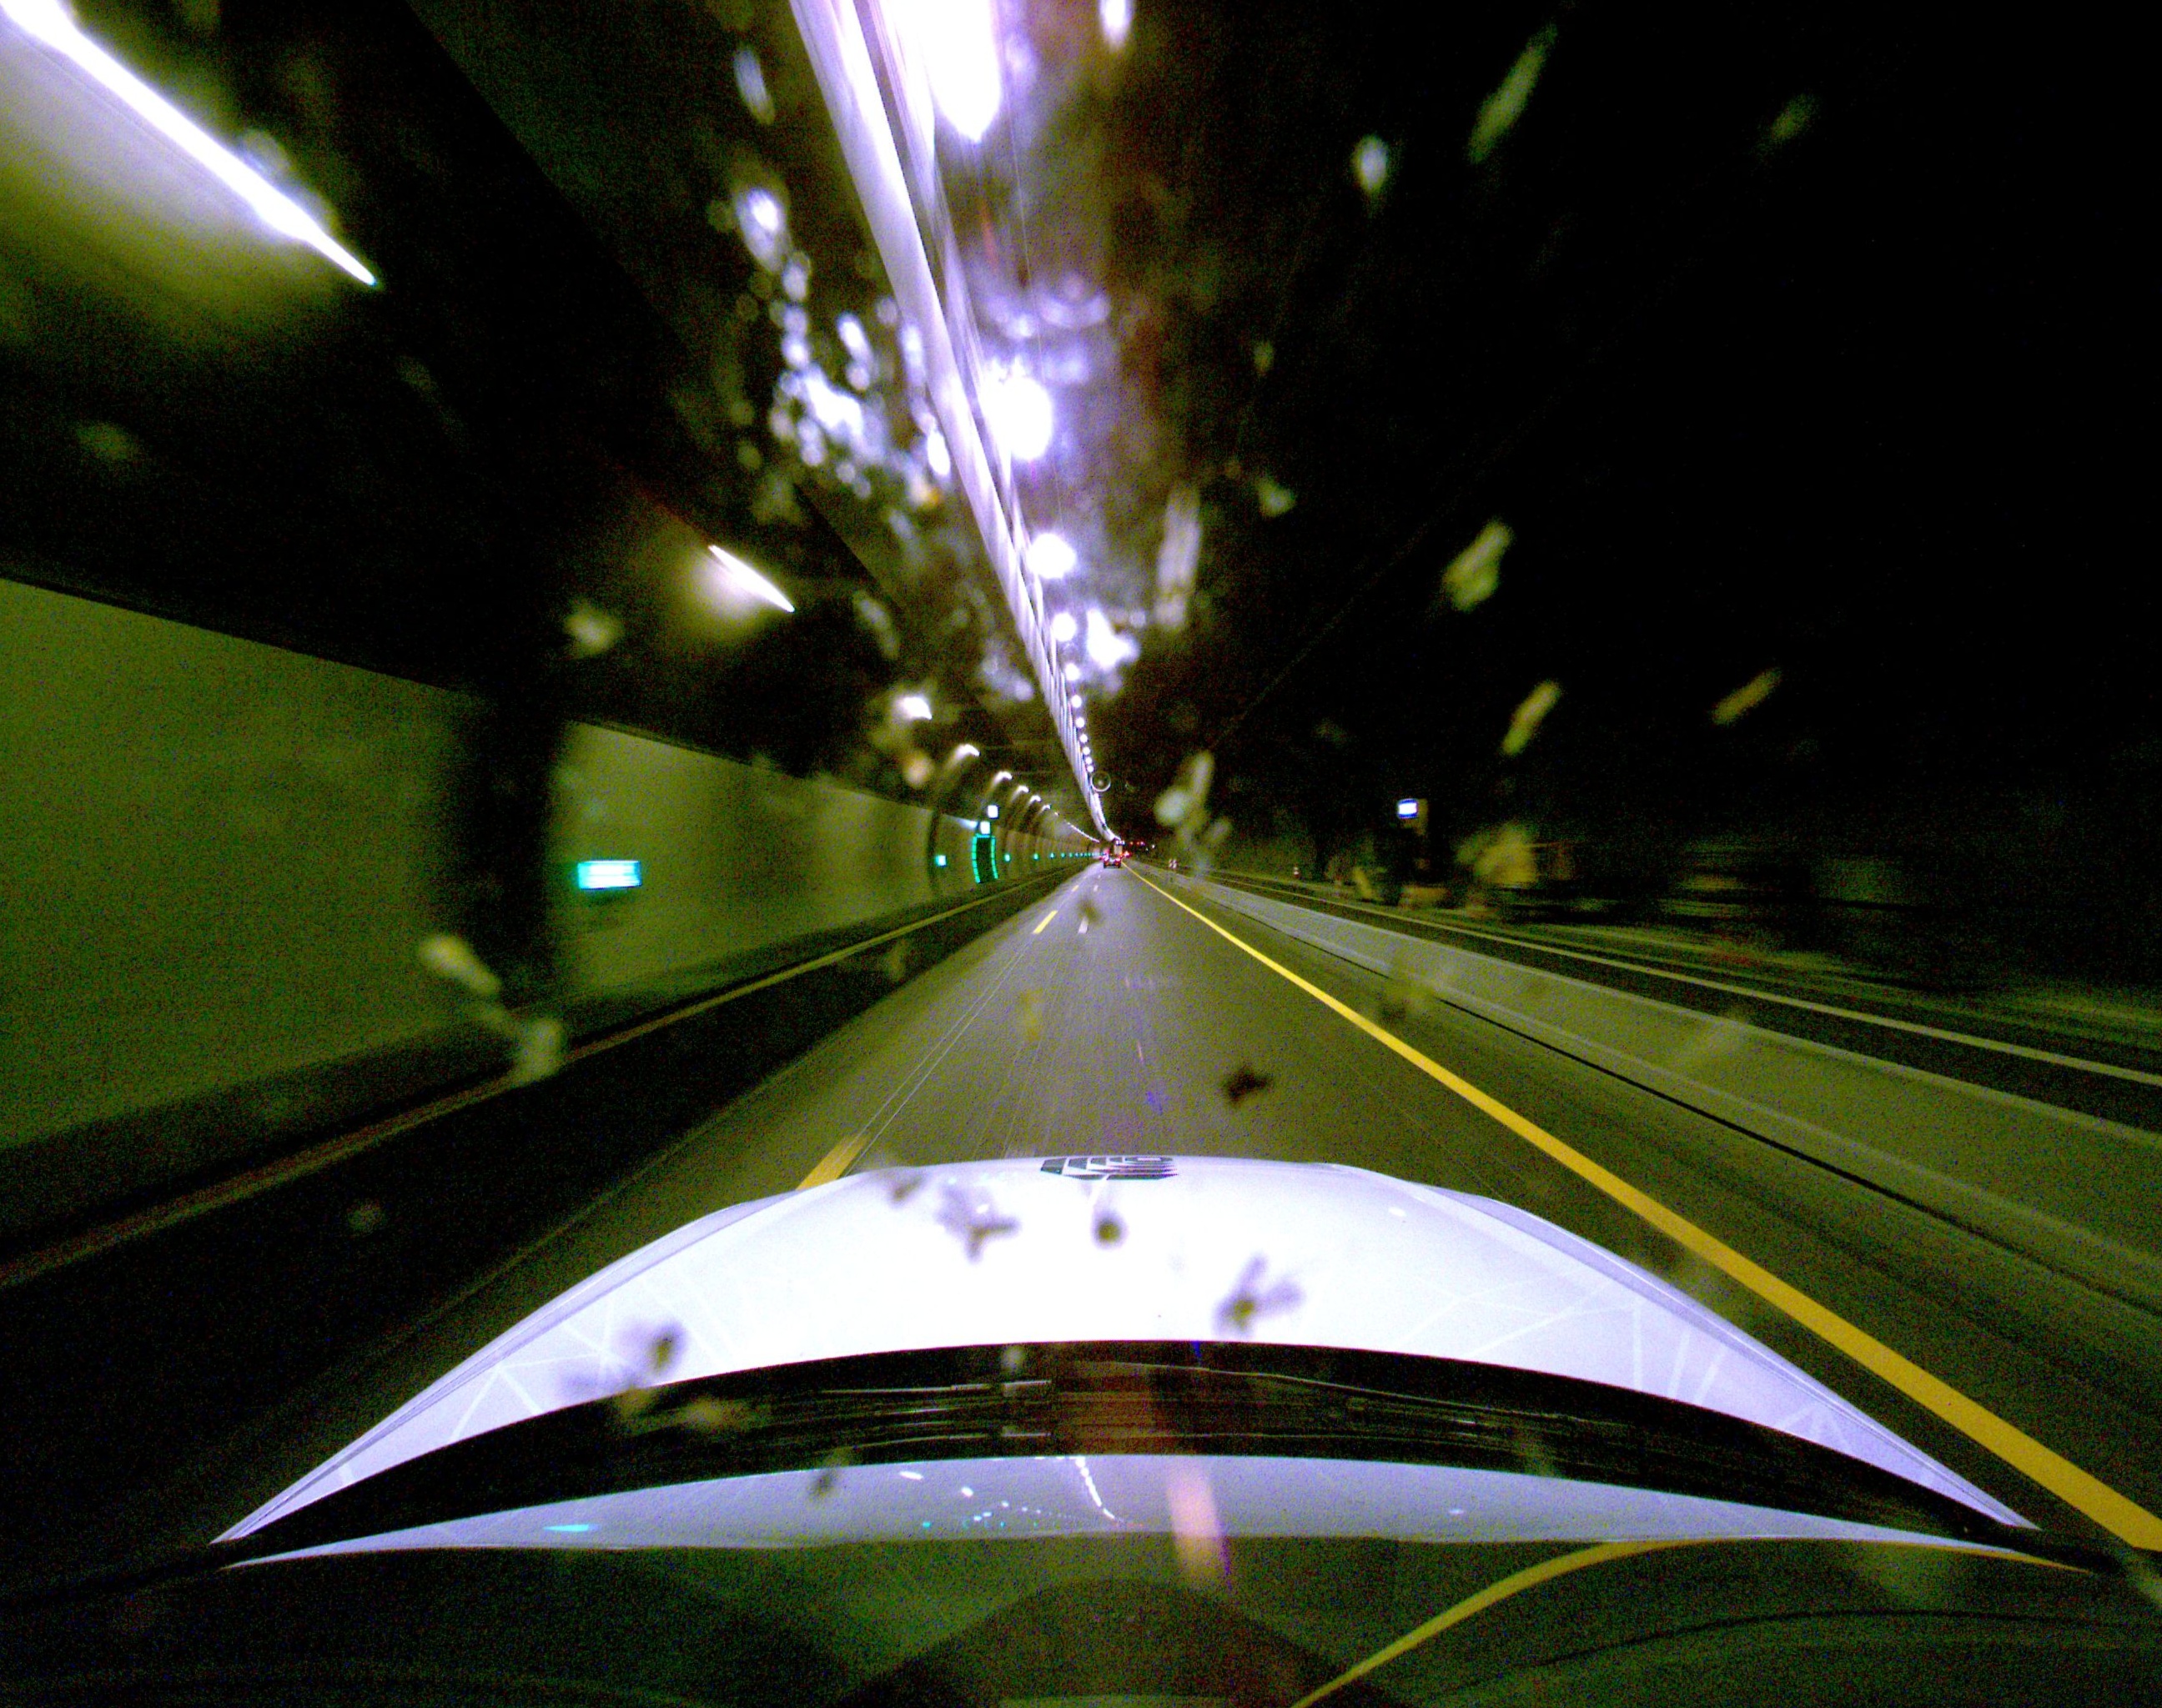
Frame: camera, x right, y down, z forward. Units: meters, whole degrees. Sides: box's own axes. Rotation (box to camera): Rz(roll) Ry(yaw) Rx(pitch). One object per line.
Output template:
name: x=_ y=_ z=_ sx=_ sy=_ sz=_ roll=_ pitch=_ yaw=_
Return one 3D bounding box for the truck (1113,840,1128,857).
truck: x=12.663 y=-1.714 z=261.606 sx=4.526 sy=4.987 sz=9.609 roll=-1 pitch=0 yaw=4

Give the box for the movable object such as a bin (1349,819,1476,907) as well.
movable object such as a bin: x=8.882 y=0.237 z=22.281 sx=1.677 sy=2.145 sz=4.629 roll=-1 pitch=0 yaw=1

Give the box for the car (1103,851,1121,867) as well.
car: x=3.309 y=0.558 z=86.958 sx=1.881 sy=1.607 sz=4.001 roll=-1 pitch=0 yaw=1

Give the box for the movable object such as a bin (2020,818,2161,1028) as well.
movable object such as a bin: x=9.139 y=0.535 z=5.809 sx=1.298 sy=1.593 sz=3.056 roll=-5 pitch=0 yaw=1

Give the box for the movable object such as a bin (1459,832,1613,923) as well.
movable object such as a bin: x=9.323 y=0.447 z=16.951 sx=1.550 sy=1.709 sz=3.056 roll=-1 pitch=0 yaw=1

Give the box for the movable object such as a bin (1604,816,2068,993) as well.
movable object such as a bin: x=9.219 y=0.501 z=10.631 sx=1.854 sy=1.675 sz=4.503 roll=-5 pitch=0 yaw=1

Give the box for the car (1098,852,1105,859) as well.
car: x=4.994 y=0.443 z=200.139 sx=1.820 sy=1.607 sz=4.001 roll=-1 pitch=0 yaw=1
